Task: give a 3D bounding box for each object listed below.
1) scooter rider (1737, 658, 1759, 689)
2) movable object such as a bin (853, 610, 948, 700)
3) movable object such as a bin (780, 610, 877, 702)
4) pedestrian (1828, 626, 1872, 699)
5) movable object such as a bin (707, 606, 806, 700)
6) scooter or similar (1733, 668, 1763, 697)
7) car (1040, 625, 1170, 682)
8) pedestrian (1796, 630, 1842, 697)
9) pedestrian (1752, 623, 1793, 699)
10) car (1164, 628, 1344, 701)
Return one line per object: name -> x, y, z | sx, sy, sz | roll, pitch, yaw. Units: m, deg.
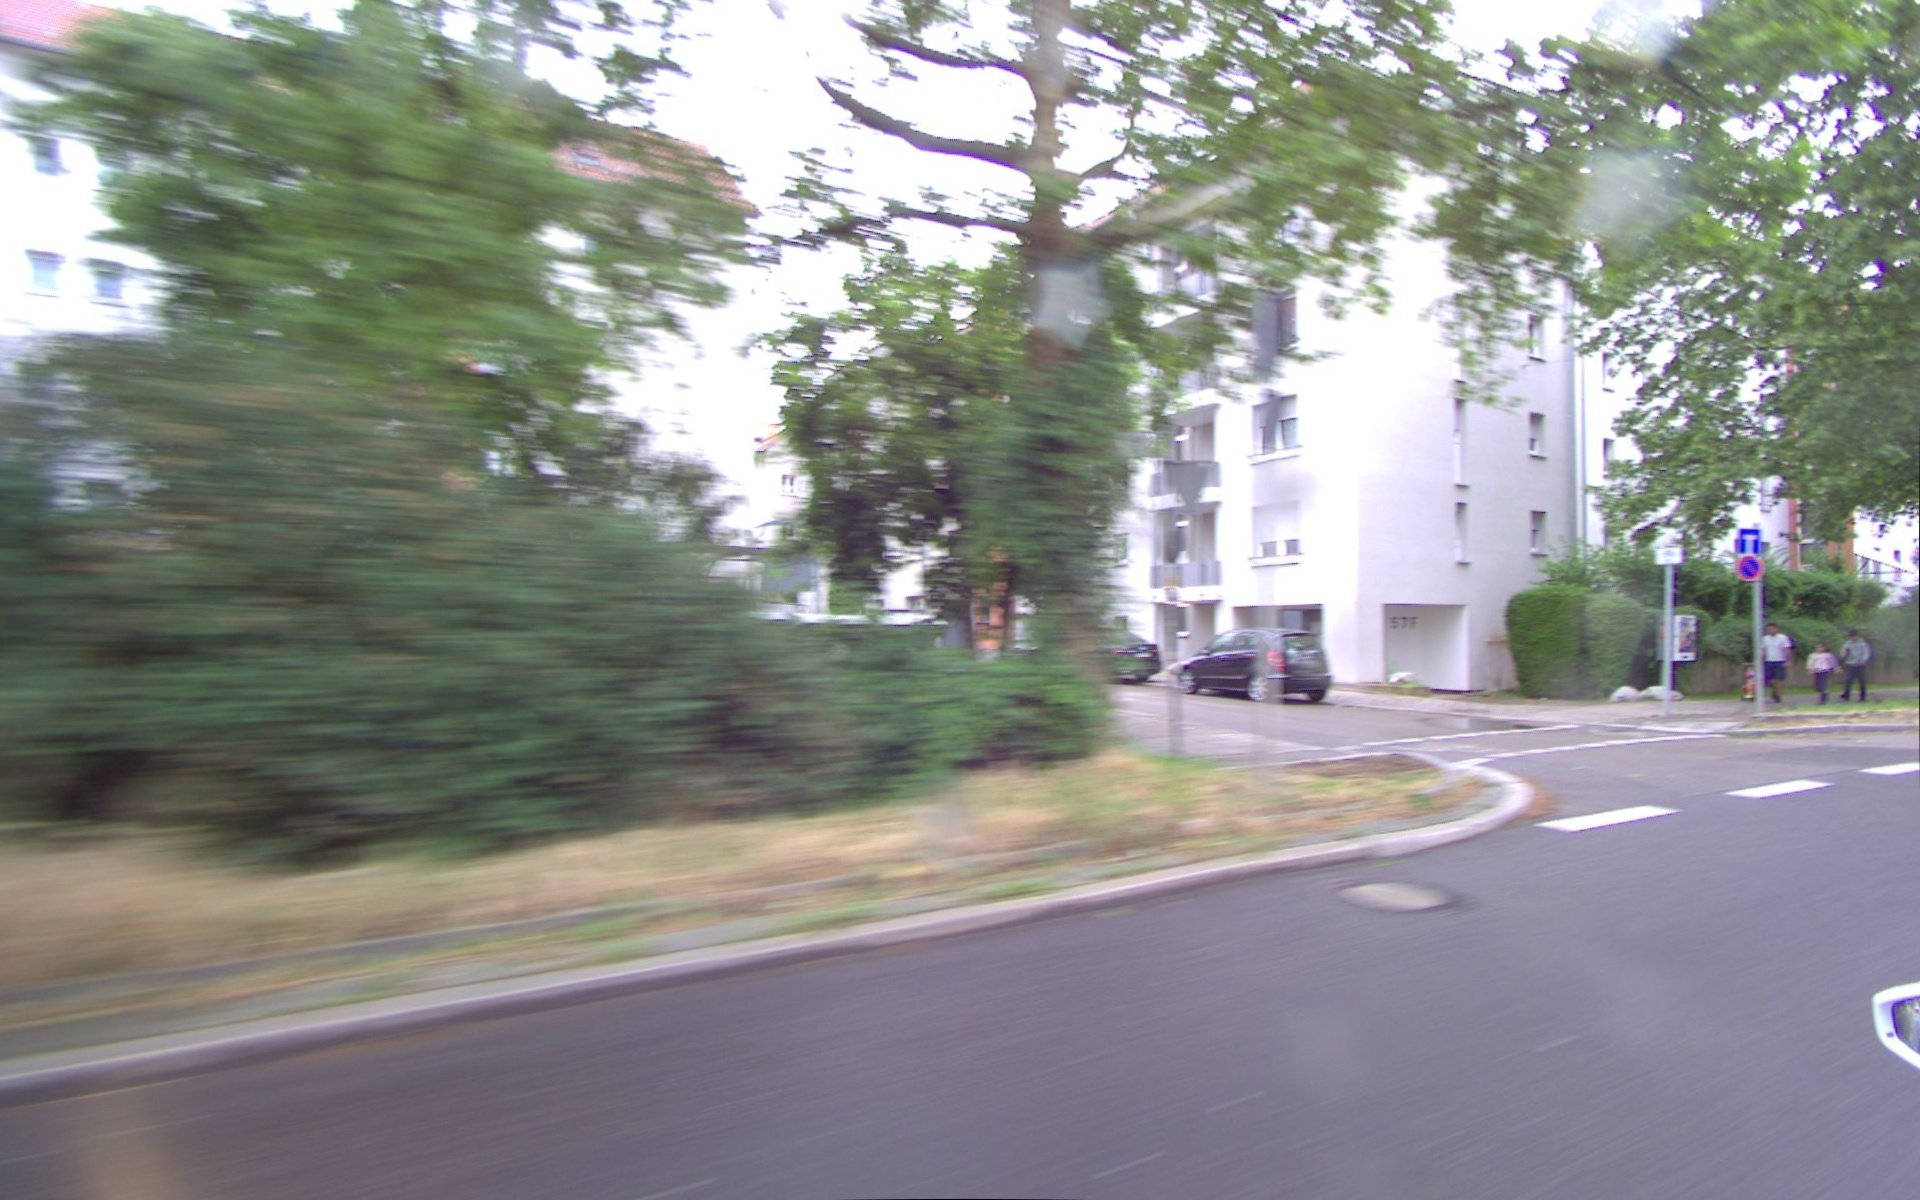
scooter rider -> 17.894, 1.662, 22.801 | 0.391, 0.693, 0.325 | 2, -2, -43
movable object such as a bin -> -1.087, 0.967, 18.255 | 1.286, 1.483, 1.155 | 1, 4, -31
movable object such as a bin -> -2.302, 0.945, 17.516 | 1.286, 1.434, 1.155 | 1, 4, -31
pedestrian -> 20.614, 1.429, 23.270 | 0.584, 1.652, 0.592 | 1, -2, -32
movable object such as a bin -> -3.423, 0.861, 16.844 | 1.286, 1.406, 1.155 | 1, 4, -31
scooter or similar -> 17.924, 1.872, 22.831 | 1.050, 0.603, 0.368 | 2, -2, -43
car -> 4.014, 1.460, 28.488 | 1.880, 1.496, 3.978 | 1, -2, -23
pedestrian -> 18.359, 1.347, 21.475 | 0.584, 1.415, 0.592 | 1, -2, -32
pedestrian -> 17.996, 1.341, 22.244 | 0.584, 1.652, 0.537 | 1, -2, -32
car -> 6.598, 1.401, 22.960 | 1.880, 1.496, 3.978 | 1, -2, -23
